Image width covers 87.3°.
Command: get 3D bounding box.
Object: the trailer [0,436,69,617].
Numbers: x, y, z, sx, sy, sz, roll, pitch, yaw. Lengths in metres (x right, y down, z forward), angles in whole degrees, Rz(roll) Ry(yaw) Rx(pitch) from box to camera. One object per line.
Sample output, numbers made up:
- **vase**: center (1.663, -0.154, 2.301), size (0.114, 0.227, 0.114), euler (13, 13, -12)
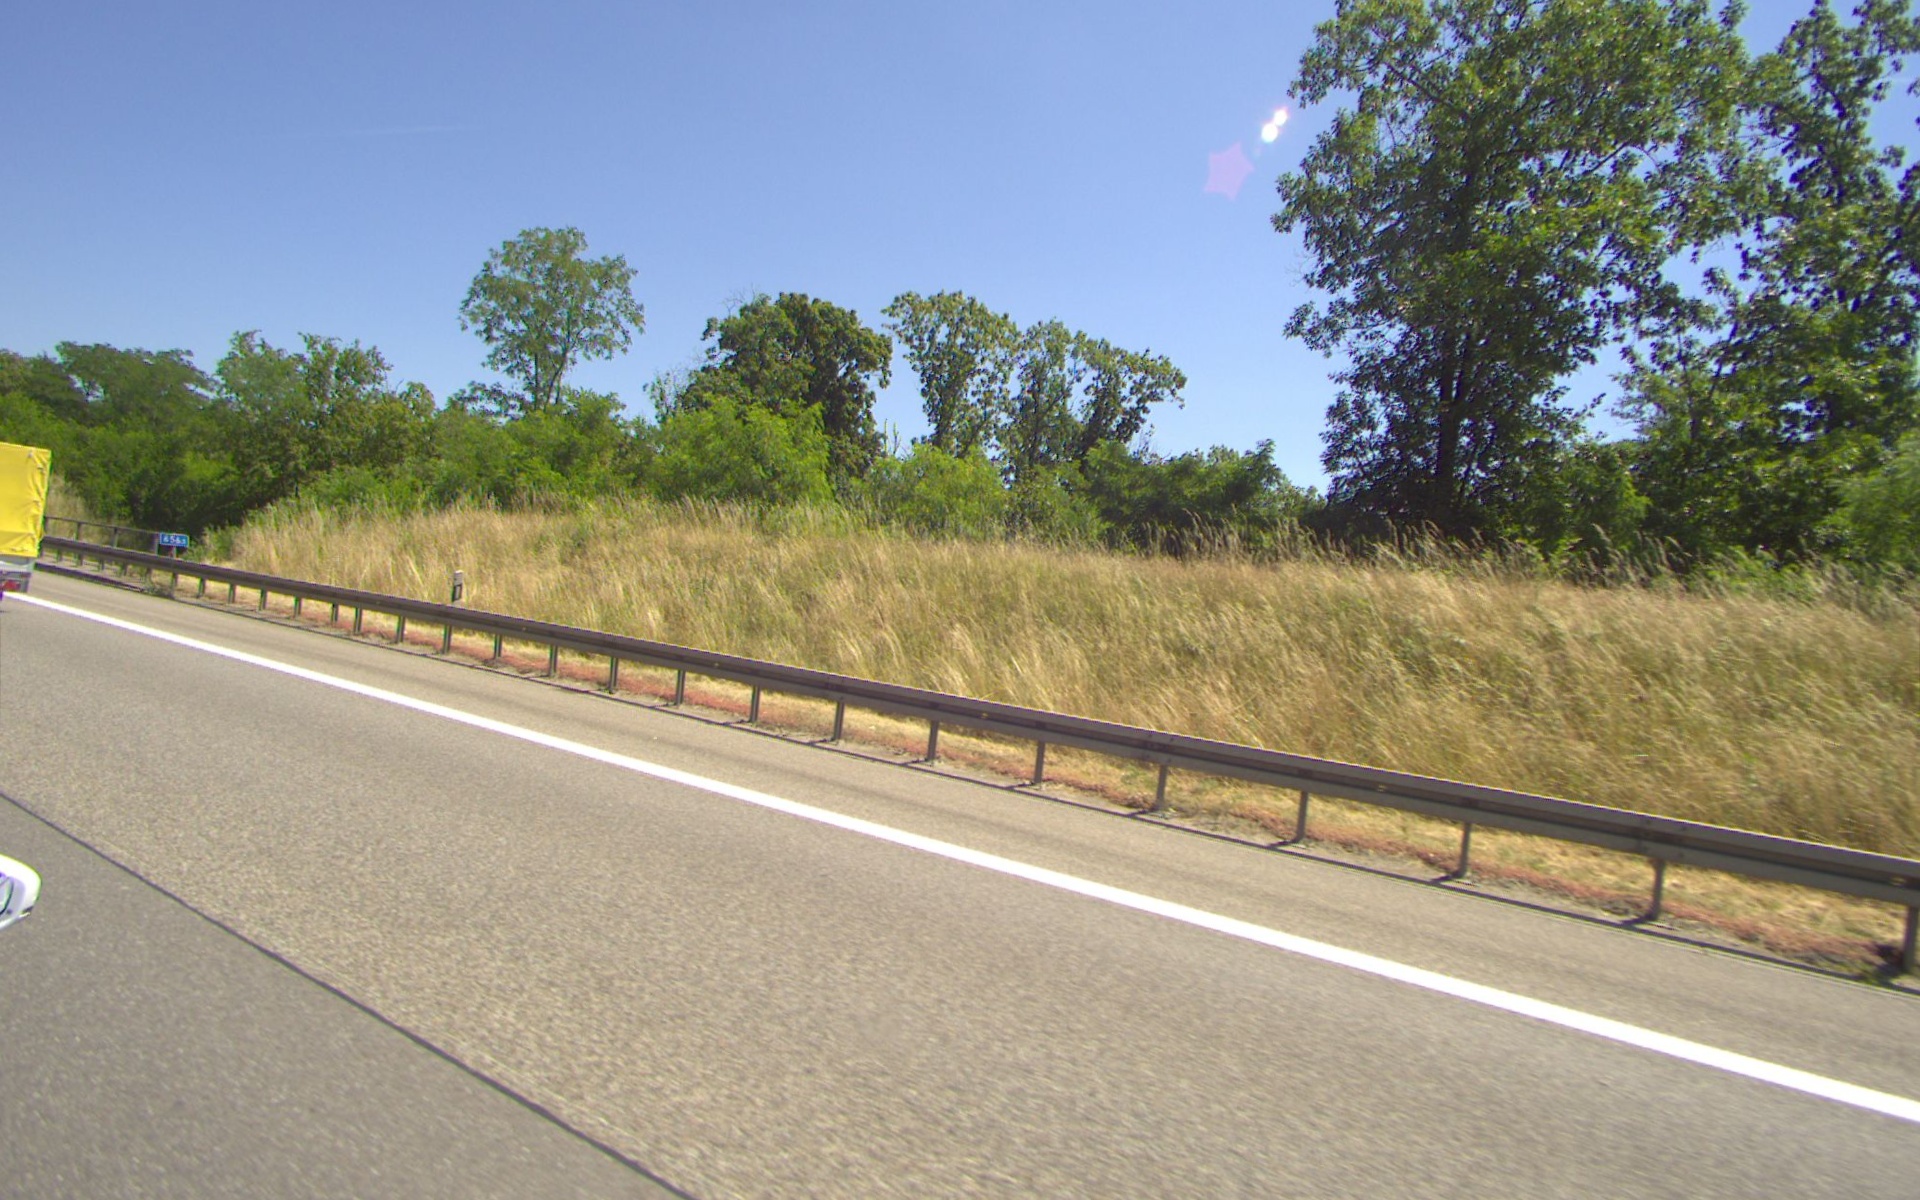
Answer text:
- **trailer**: center (-14.318, -1.179, 13.926), size (3.775, 2.316, 1.706), euler (7, -1, 31)
